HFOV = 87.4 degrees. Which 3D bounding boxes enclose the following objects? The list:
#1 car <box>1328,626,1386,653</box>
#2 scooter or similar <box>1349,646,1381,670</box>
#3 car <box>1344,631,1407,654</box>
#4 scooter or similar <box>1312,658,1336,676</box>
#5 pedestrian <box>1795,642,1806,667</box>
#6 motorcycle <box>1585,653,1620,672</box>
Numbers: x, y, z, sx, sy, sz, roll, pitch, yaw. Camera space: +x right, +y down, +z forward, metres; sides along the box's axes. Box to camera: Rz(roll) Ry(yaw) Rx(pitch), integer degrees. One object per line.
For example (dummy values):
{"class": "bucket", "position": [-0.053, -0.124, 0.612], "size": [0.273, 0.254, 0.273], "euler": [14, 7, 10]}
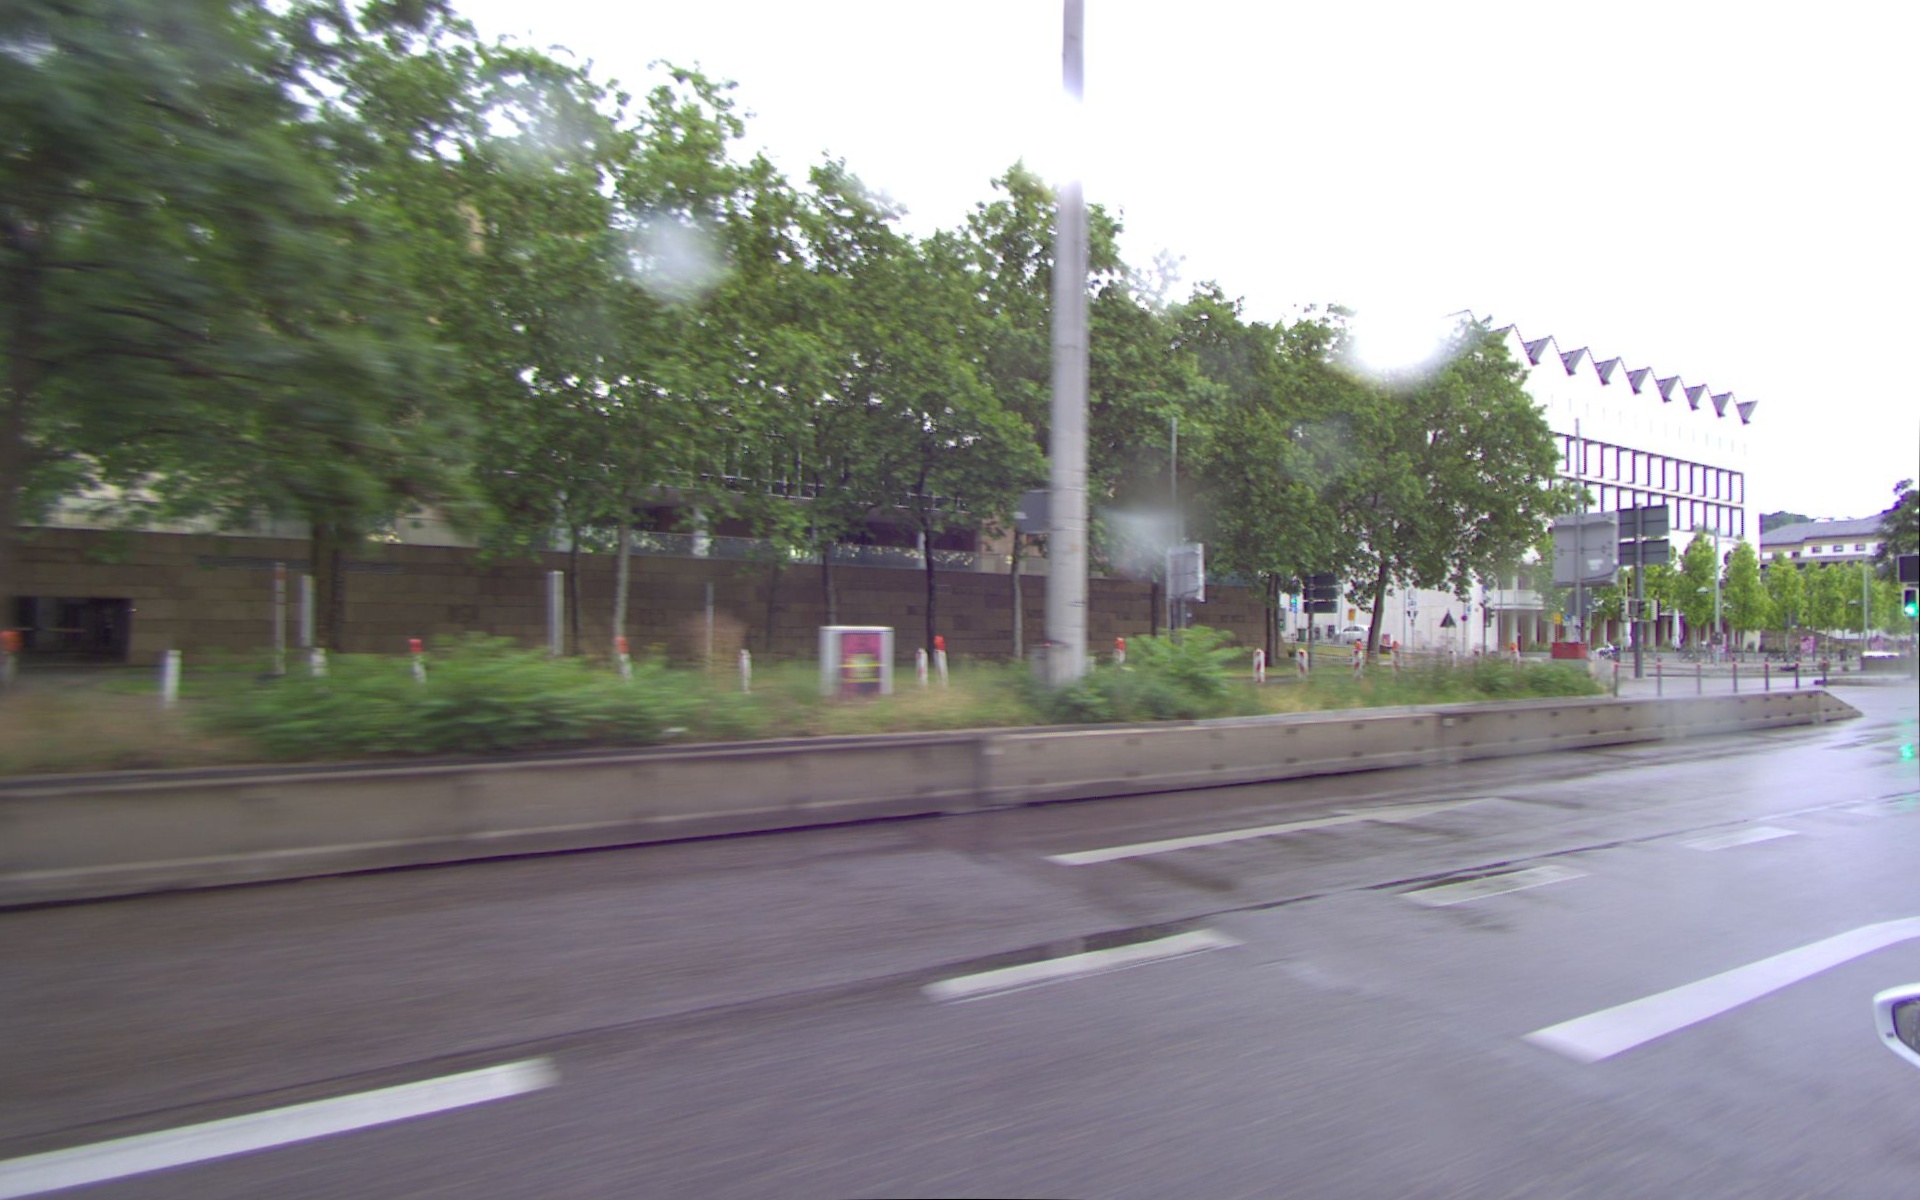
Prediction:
{"class": "car", "position": [31.021, 3.051, 78.658], "size": [1.973, 2.040, 3.975], "euler": [0, -1, -25]}
{"class": "scooter or similar", "position": [23.785, 3.412, 59.009], "size": [1.645, 1.369, 0.713], "euler": [2, -4, -10]}
{"class": "car", "position": [31.295, 3.187, 75.700], "size": [1.979, 1.617, 3.965], "euler": [2, -3, -33]}
{"class": "scooter or similar", "position": [22.102, 4.077, 60.988], "size": [0.430, 1.031, 1.669], "euler": [2, -4, -18]}
{"class": "pedestrian", "position": [67.966, 4.402, 81.209], "size": [0.531, 2.039, 0.530], "euler": [-1, -4, 24]}
{"class": "motorcycle", "position": [40.272, 3.920, 62.978], "size": [1.808, 1.169, 0.426], "euler": [-1, -3, 33]}
